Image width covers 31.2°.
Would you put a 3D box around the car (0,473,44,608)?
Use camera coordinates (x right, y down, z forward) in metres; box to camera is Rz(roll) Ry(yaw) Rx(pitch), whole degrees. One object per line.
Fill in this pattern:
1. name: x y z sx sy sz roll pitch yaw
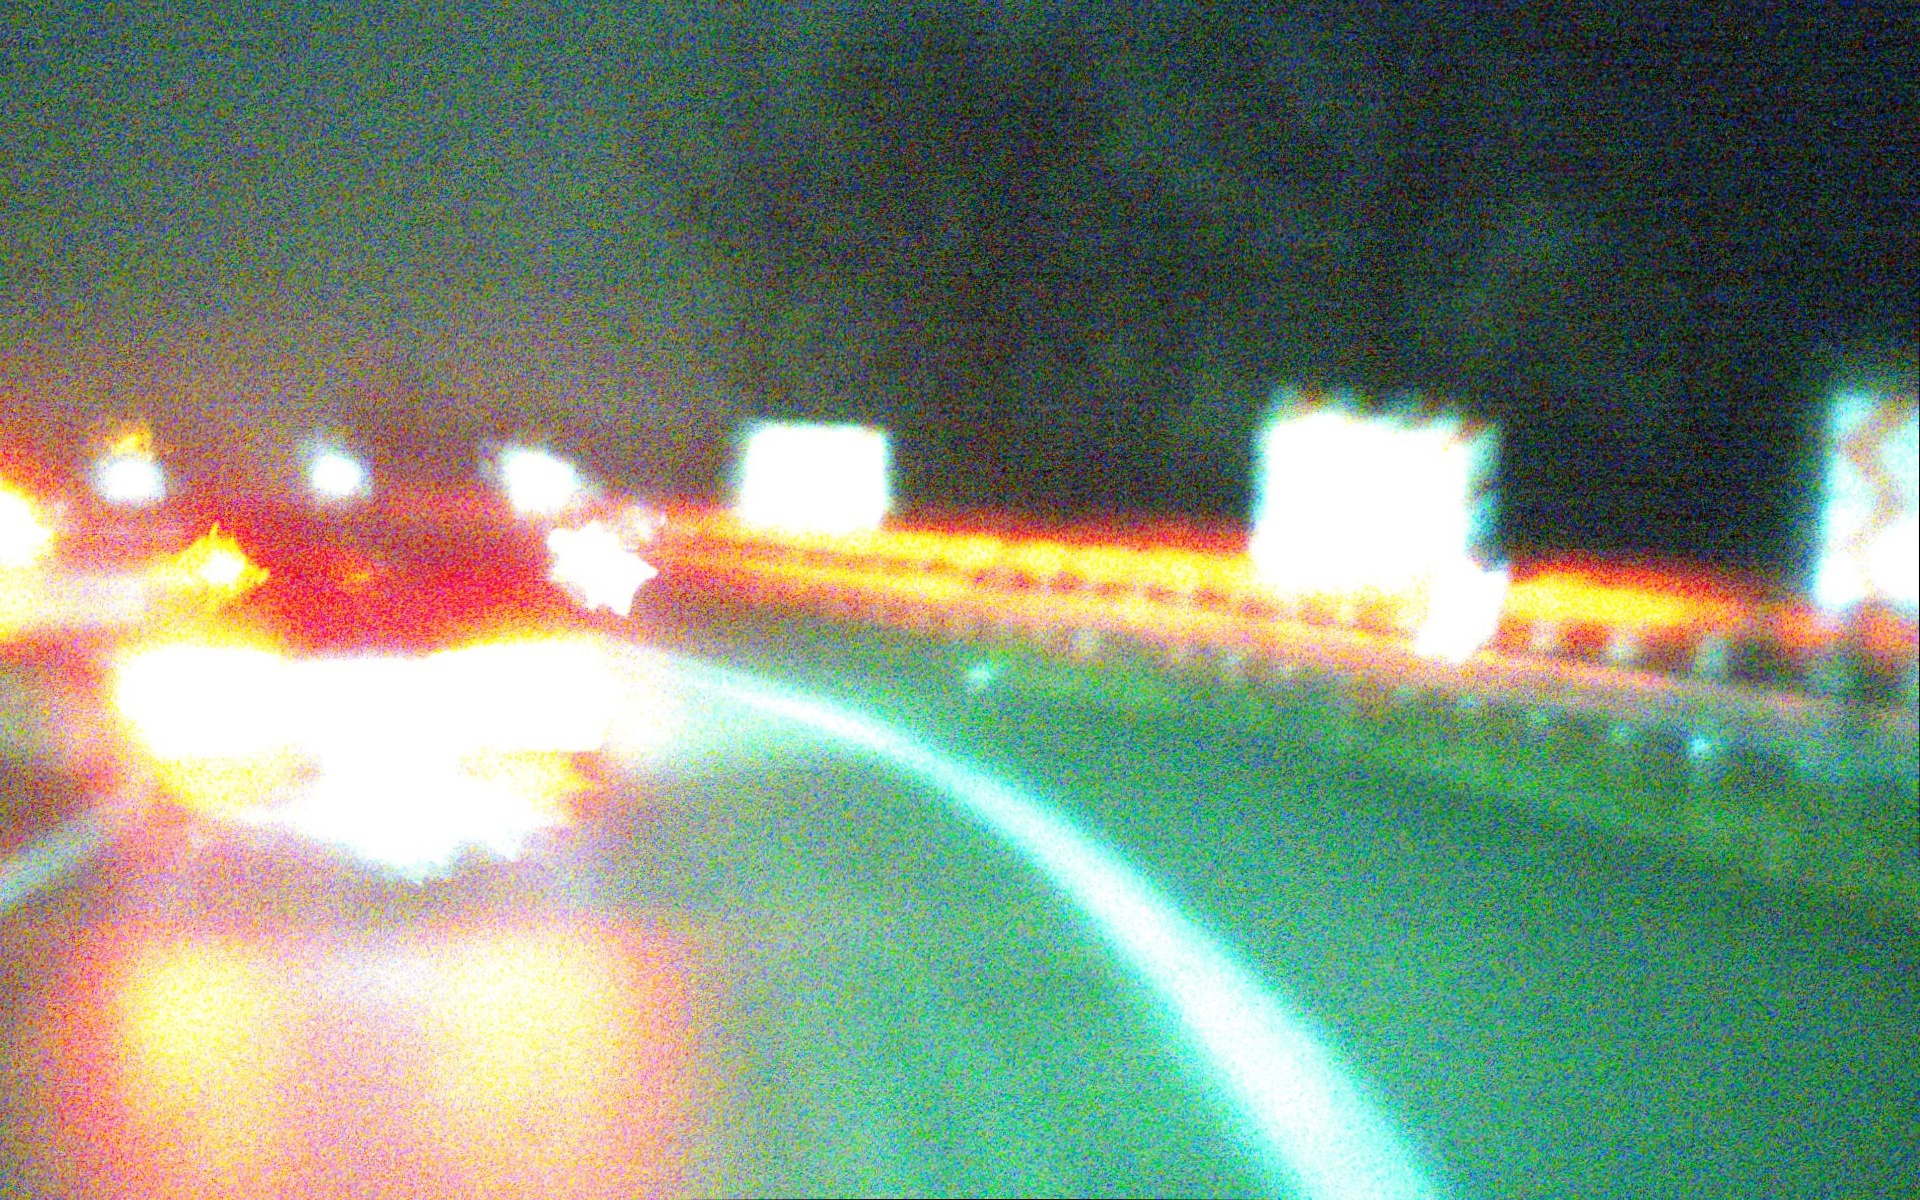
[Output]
1. car: -15.705 -0.954 53.591 1.895 2.033 4.046 0 2 -28

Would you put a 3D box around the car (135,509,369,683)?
1. car: -7.528 -0.080 36.288 1.895 1.714 4.047 -1 1 -19

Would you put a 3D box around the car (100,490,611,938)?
1. car: -2.536 0.369 14.846 1.860 1.641 4.070 -1 1 -8
